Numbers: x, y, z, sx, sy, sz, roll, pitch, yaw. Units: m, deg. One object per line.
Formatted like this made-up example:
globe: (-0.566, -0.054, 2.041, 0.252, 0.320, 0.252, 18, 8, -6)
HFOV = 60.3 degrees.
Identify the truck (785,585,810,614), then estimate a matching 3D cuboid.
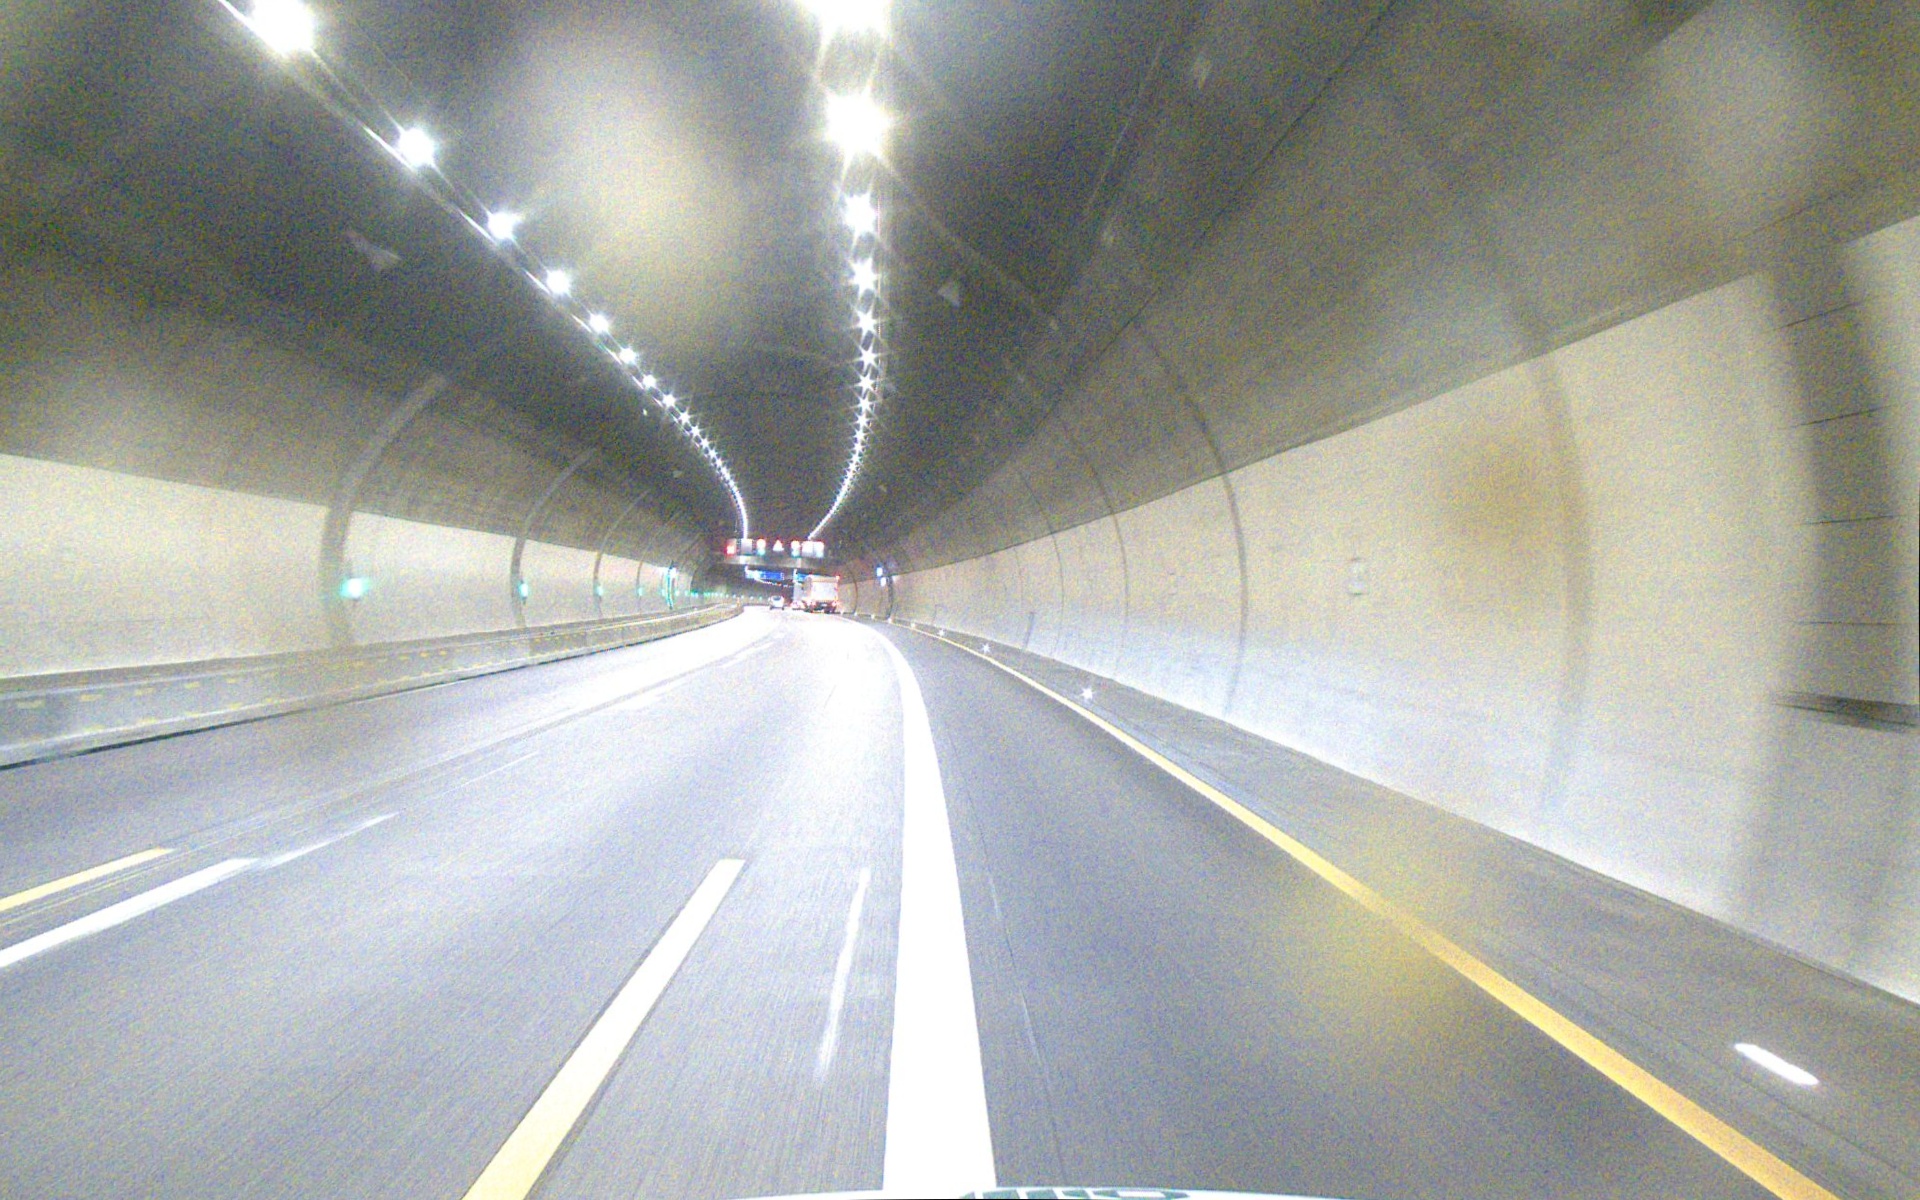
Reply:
truck: (-25.288, -0.035, 257.414, 3.408, 4.392, 10.934, 1, 0, -7)

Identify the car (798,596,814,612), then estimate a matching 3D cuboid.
car: (-20.338, 0.526, 218.308, 1.955, 2.049, 3.995, 2, 0, -6)

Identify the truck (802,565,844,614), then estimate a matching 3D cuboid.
truck: (-13.239, -1.029, 159.534, 3.408, 4.391, 10.934, 2, 0, -7)

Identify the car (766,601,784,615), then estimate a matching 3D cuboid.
car: (-21.706, 0.950, 194.266, 1.956, 1.609, 3.993, 2, 0, -8)
